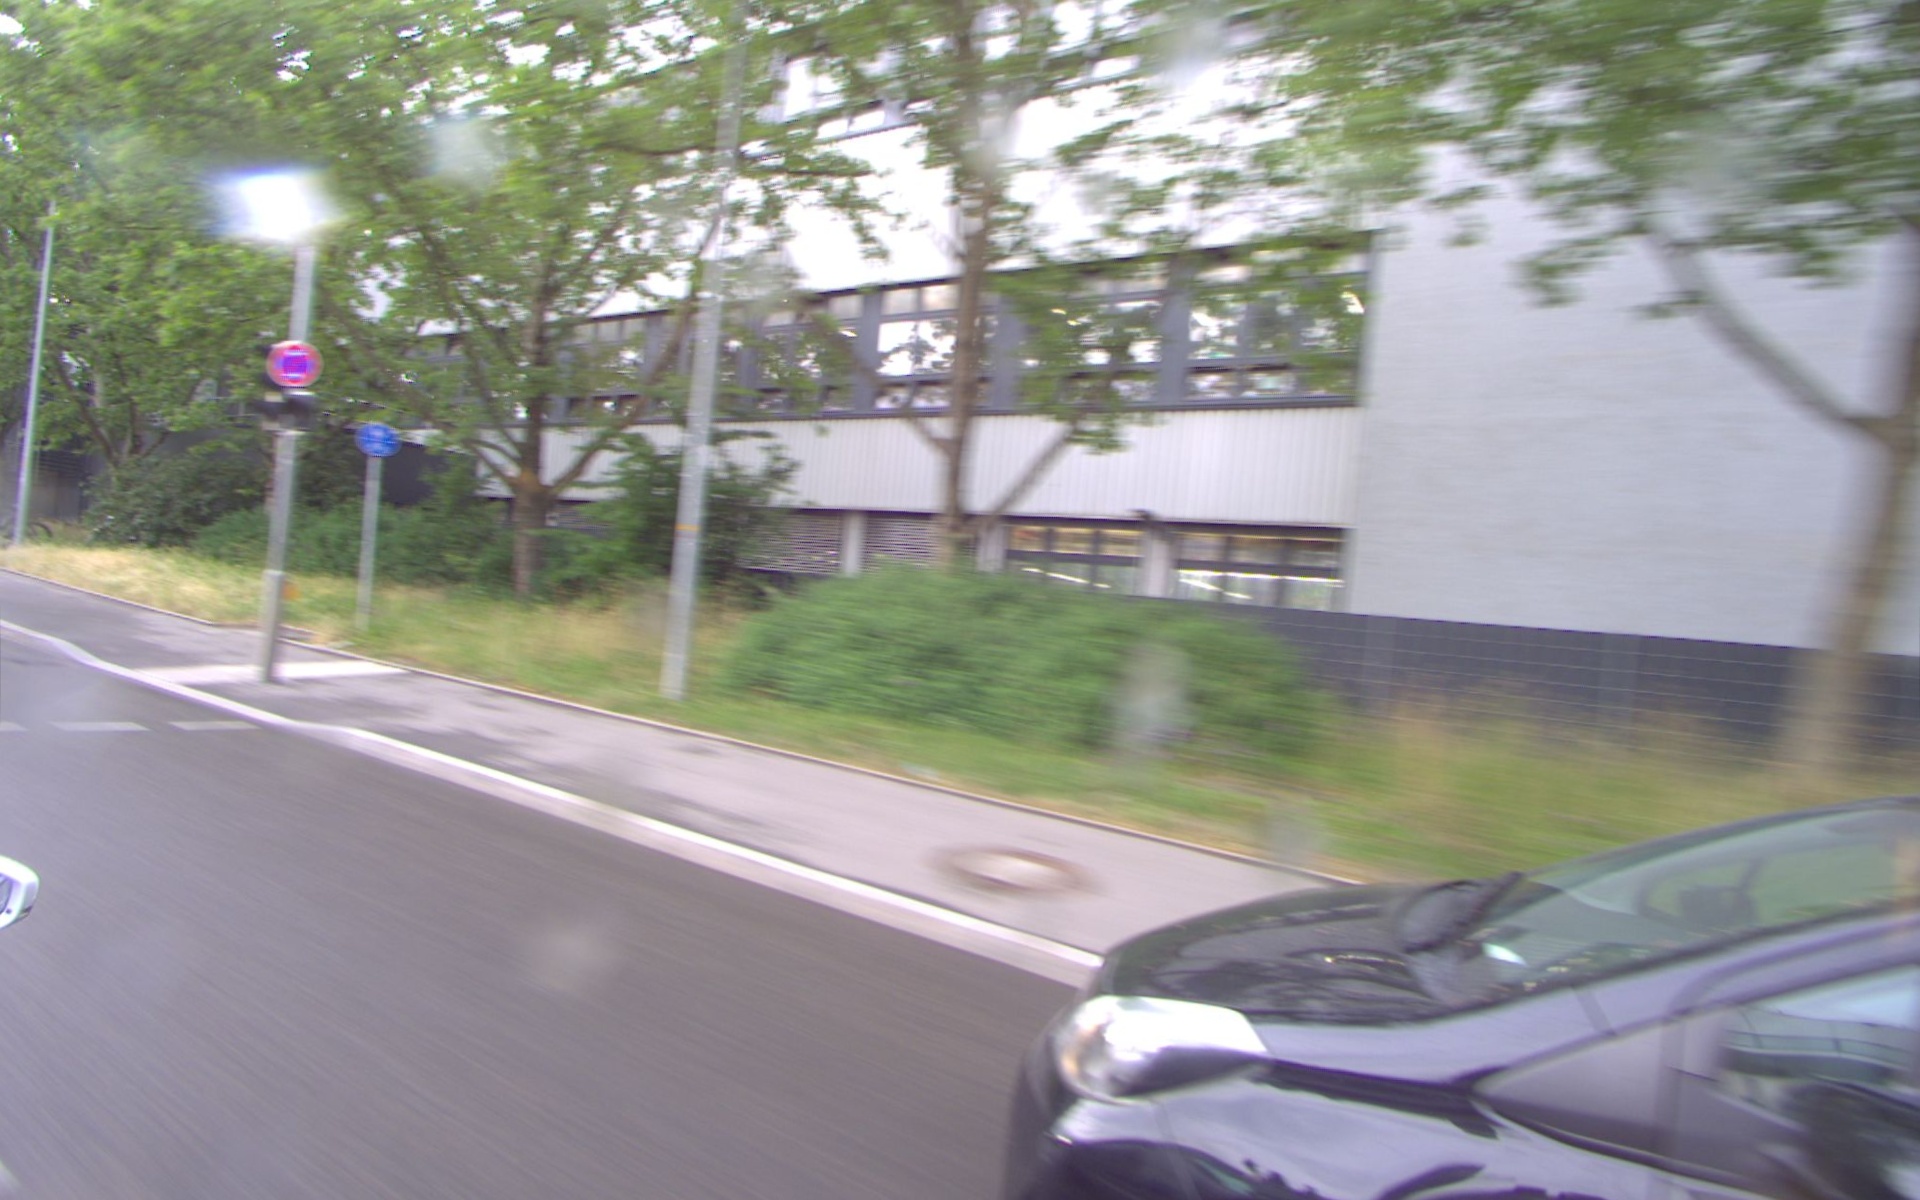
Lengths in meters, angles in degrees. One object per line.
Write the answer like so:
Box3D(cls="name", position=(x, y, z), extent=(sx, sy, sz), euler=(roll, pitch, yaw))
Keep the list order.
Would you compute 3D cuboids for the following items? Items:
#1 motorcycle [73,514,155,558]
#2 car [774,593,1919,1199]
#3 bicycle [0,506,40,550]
Box3D(cls="motorcycle", position=(-23.641, -1.787, 28.151), extent=(0.567, 1.014, 1.609), euler=(7, 1, 31))
Box3D(cls="car", position=(2.061, 1.009, 1.585), extent=(4.563, 1.487, 1.748), euler=(6, -1, 31))
Box3D(cls="bicycle", position=(-22.541, -1.722, 23.396), extent=(0.381, 0.951, 1.609), euler=(7, 1, 31))
